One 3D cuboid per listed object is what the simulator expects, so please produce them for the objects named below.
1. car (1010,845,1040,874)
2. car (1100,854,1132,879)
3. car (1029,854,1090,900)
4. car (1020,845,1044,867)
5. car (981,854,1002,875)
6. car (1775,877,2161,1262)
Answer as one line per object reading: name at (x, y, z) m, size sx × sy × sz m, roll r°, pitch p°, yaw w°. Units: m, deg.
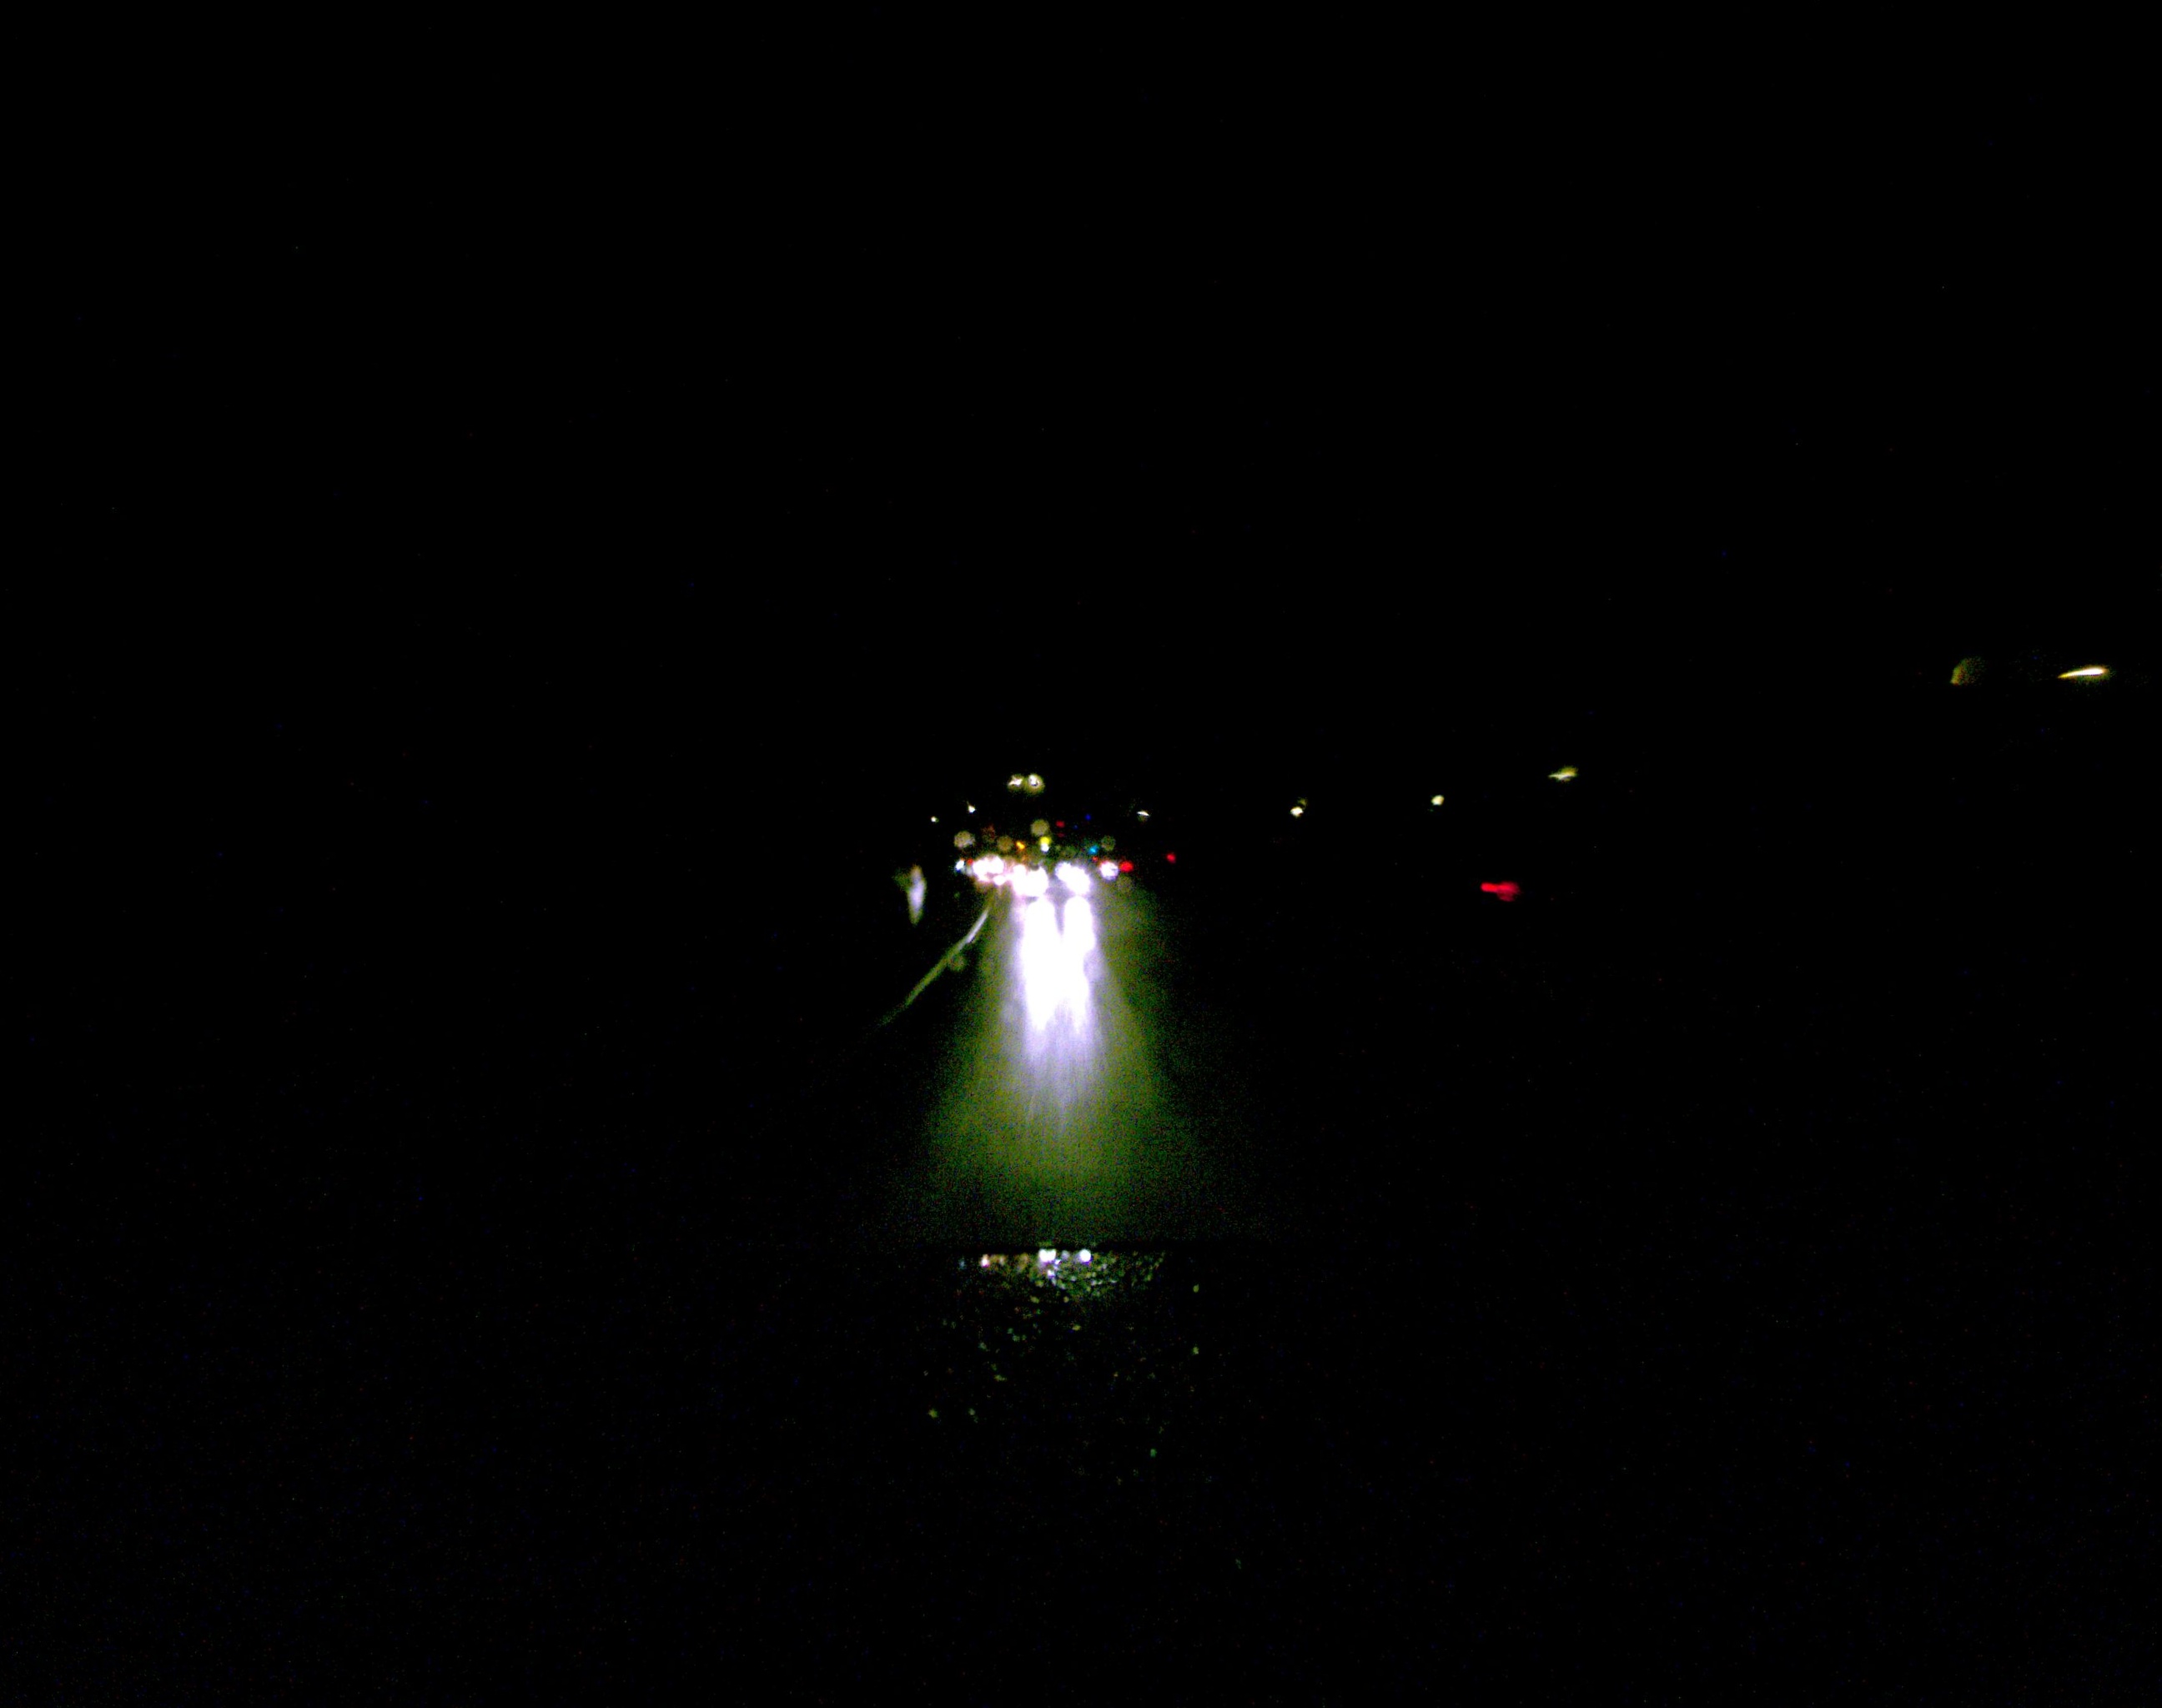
car at (-4.166, 0.370, 57.010) m, size 1.899 × 2.002 × 4.000 m, roll -2°, pitch 1°, yaw 1°
car at (2.255, 0.771, 49.469) m, size 1.657 × 1.482 × 3.858 m, roll -2°, pitch 1°, yaw -4°
car at (-0.907, 0.820, 29.492) m, size 1.999 × 1.585 × 4.606 m, roll -1°, pitch 1°, yaw -6°
car at (-4.714, 0.175, 73.102) m, size 1.998 × 2.002 × 3.999 m, roll -2°, pitch 1°, yaw 0°
car at (-8.129, 0.888, 69.048) m, size 1.709 × 1.761 × 3.996 m, roll -2°, pitch 1°, yaw -8°
car at (4.792, 0.825, 2.396) m, size 1.638 × 1.346 × 4.143 m, roll -1°, pitch 0°, yaw 5°
